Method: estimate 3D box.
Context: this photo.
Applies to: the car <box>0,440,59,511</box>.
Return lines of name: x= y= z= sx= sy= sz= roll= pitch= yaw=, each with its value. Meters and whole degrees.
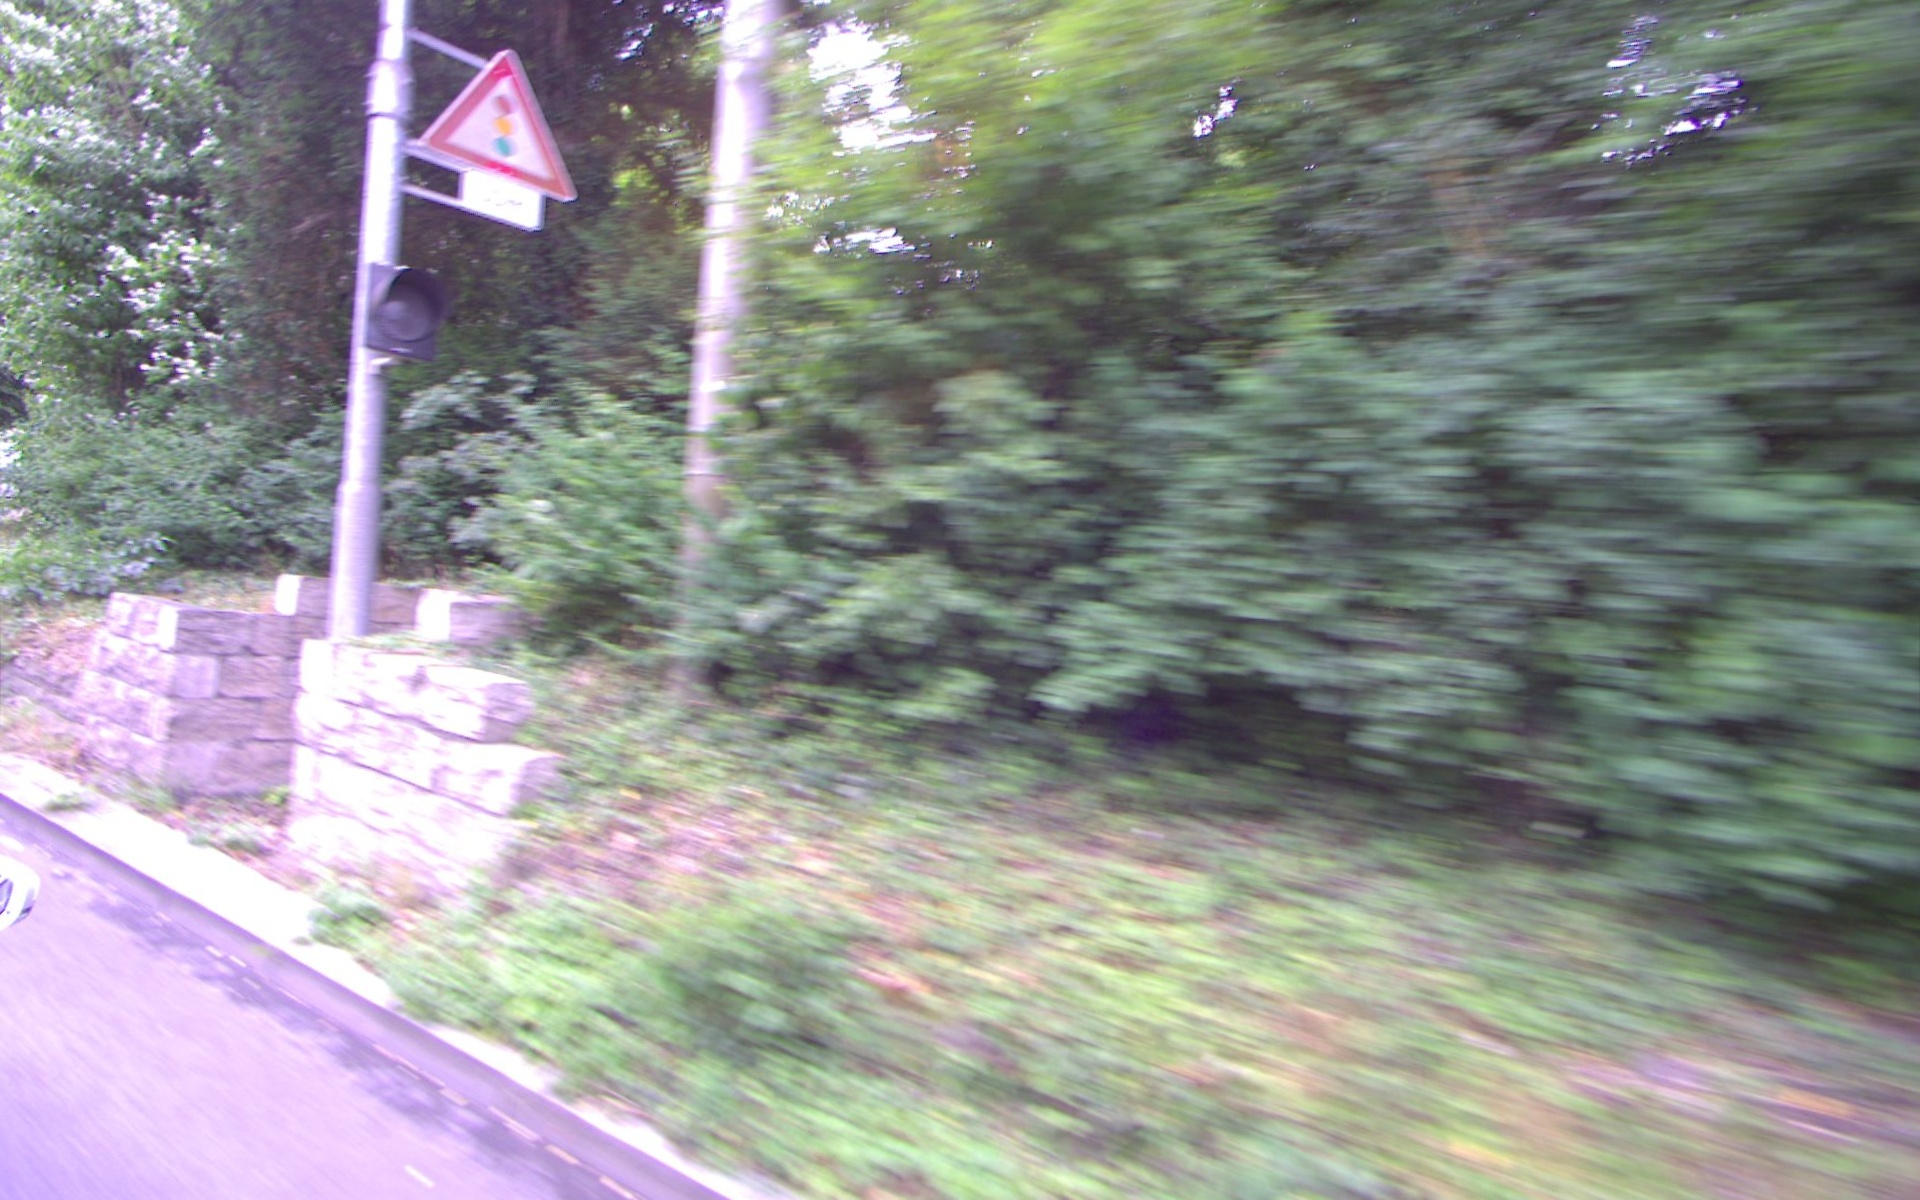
car: x=-27.282 y=-3.601 z=27.058 sx=1.795 sy=1.786 sz=4.665 roll=9 pitch=1 yaw=-1

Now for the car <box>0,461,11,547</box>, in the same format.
car: x=-17.553 y=-1.721 z=16.303 sx=1.739 sy=1.572 sz=4.308 roll=9 pitch=1 yaw=-25
